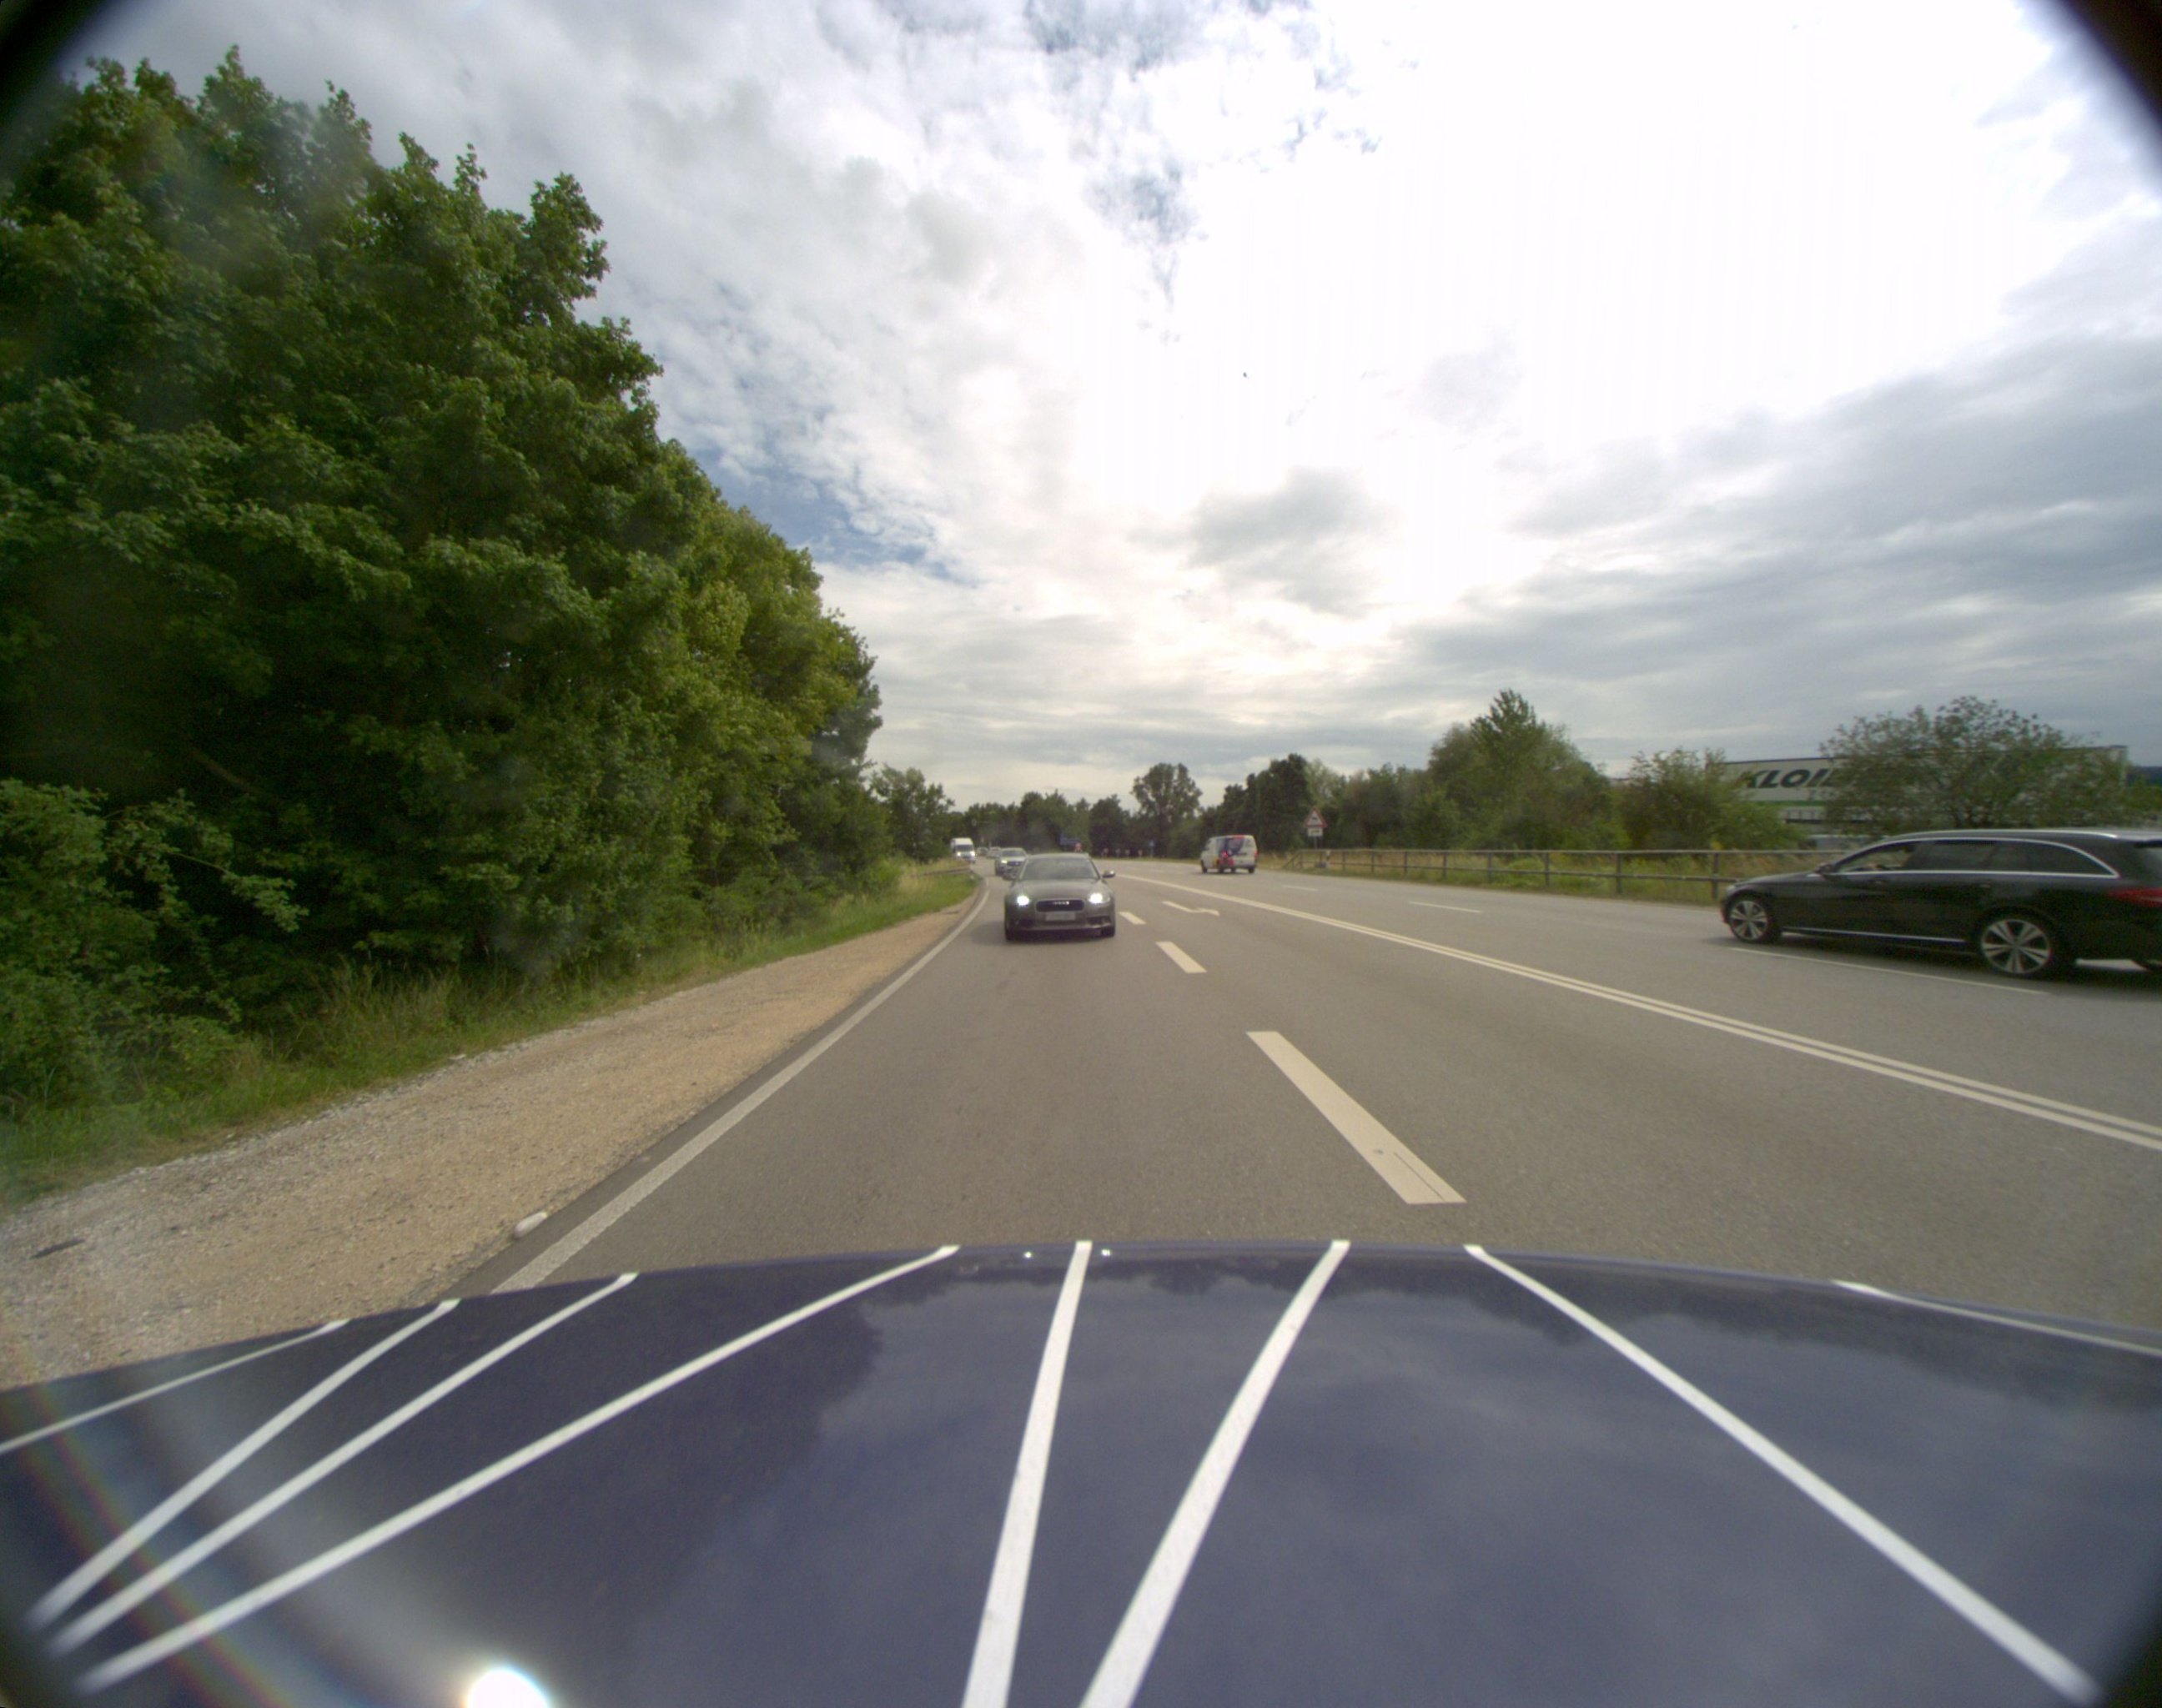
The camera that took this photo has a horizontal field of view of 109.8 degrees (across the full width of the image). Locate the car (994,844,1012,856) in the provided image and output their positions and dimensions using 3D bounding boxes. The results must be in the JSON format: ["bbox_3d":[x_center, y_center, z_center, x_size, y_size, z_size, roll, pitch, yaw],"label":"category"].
[{"bbox_3d":[-10.497,-0.514,101.455,1.736,1.509,3.994,-3,1,-15],"label":"car"}]

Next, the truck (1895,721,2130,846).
[{"bbox_3d":[41.333,-2.903,33.977,2.808,4.968,6.176,-3,1,-27],"label":"truck"}]

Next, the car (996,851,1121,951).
[{"bbox_3d":[-0.421,0.736,14.072,1.958,1.527,3.999,-1,1,-2],"label":"car"}]

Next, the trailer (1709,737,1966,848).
[{"bbox_3d":[38.576,-2.877,39.310,2.811,4.968,8.964,-3,1,-27],"label":"trailer"}]

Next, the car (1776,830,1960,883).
[{"bbox_3d":[30.282,0.101,29.454,4.535,1.865,2.003,-1,1,23],"label":"car"}]

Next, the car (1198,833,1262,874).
[{"bbox_3d":[7.884,-0.056,40.595,2.000,2.002,4.664,-2,1,-7],"label":"car"}]

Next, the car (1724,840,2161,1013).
[{"bbox_3d":[9.920,0.589,8.416,1.813,1.433,4.352,-1,0,-2],"label":"car"}]

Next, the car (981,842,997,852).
[{"bbox_3d":[-14.943,-1.128,123.050,1.883,1.480,3.738,-2,1,-16],"label":"car"}]

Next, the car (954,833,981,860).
[{"bbox_3d":[-12.081,-0.725,80.636,2.221,2.654,5.234,-3,0,-13],"label":"car"}]

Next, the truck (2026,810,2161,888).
[{"bbox_3d":[60.642,-0.320,43.045,3.243,4.268,8.308,-1,1,-14],"label":"truck"}]

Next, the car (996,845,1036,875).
[{"bbox_3d":[-3.967,0.336,45.778,2.022,1.603,4.277,-2,1,-9],"label":"car"}]
